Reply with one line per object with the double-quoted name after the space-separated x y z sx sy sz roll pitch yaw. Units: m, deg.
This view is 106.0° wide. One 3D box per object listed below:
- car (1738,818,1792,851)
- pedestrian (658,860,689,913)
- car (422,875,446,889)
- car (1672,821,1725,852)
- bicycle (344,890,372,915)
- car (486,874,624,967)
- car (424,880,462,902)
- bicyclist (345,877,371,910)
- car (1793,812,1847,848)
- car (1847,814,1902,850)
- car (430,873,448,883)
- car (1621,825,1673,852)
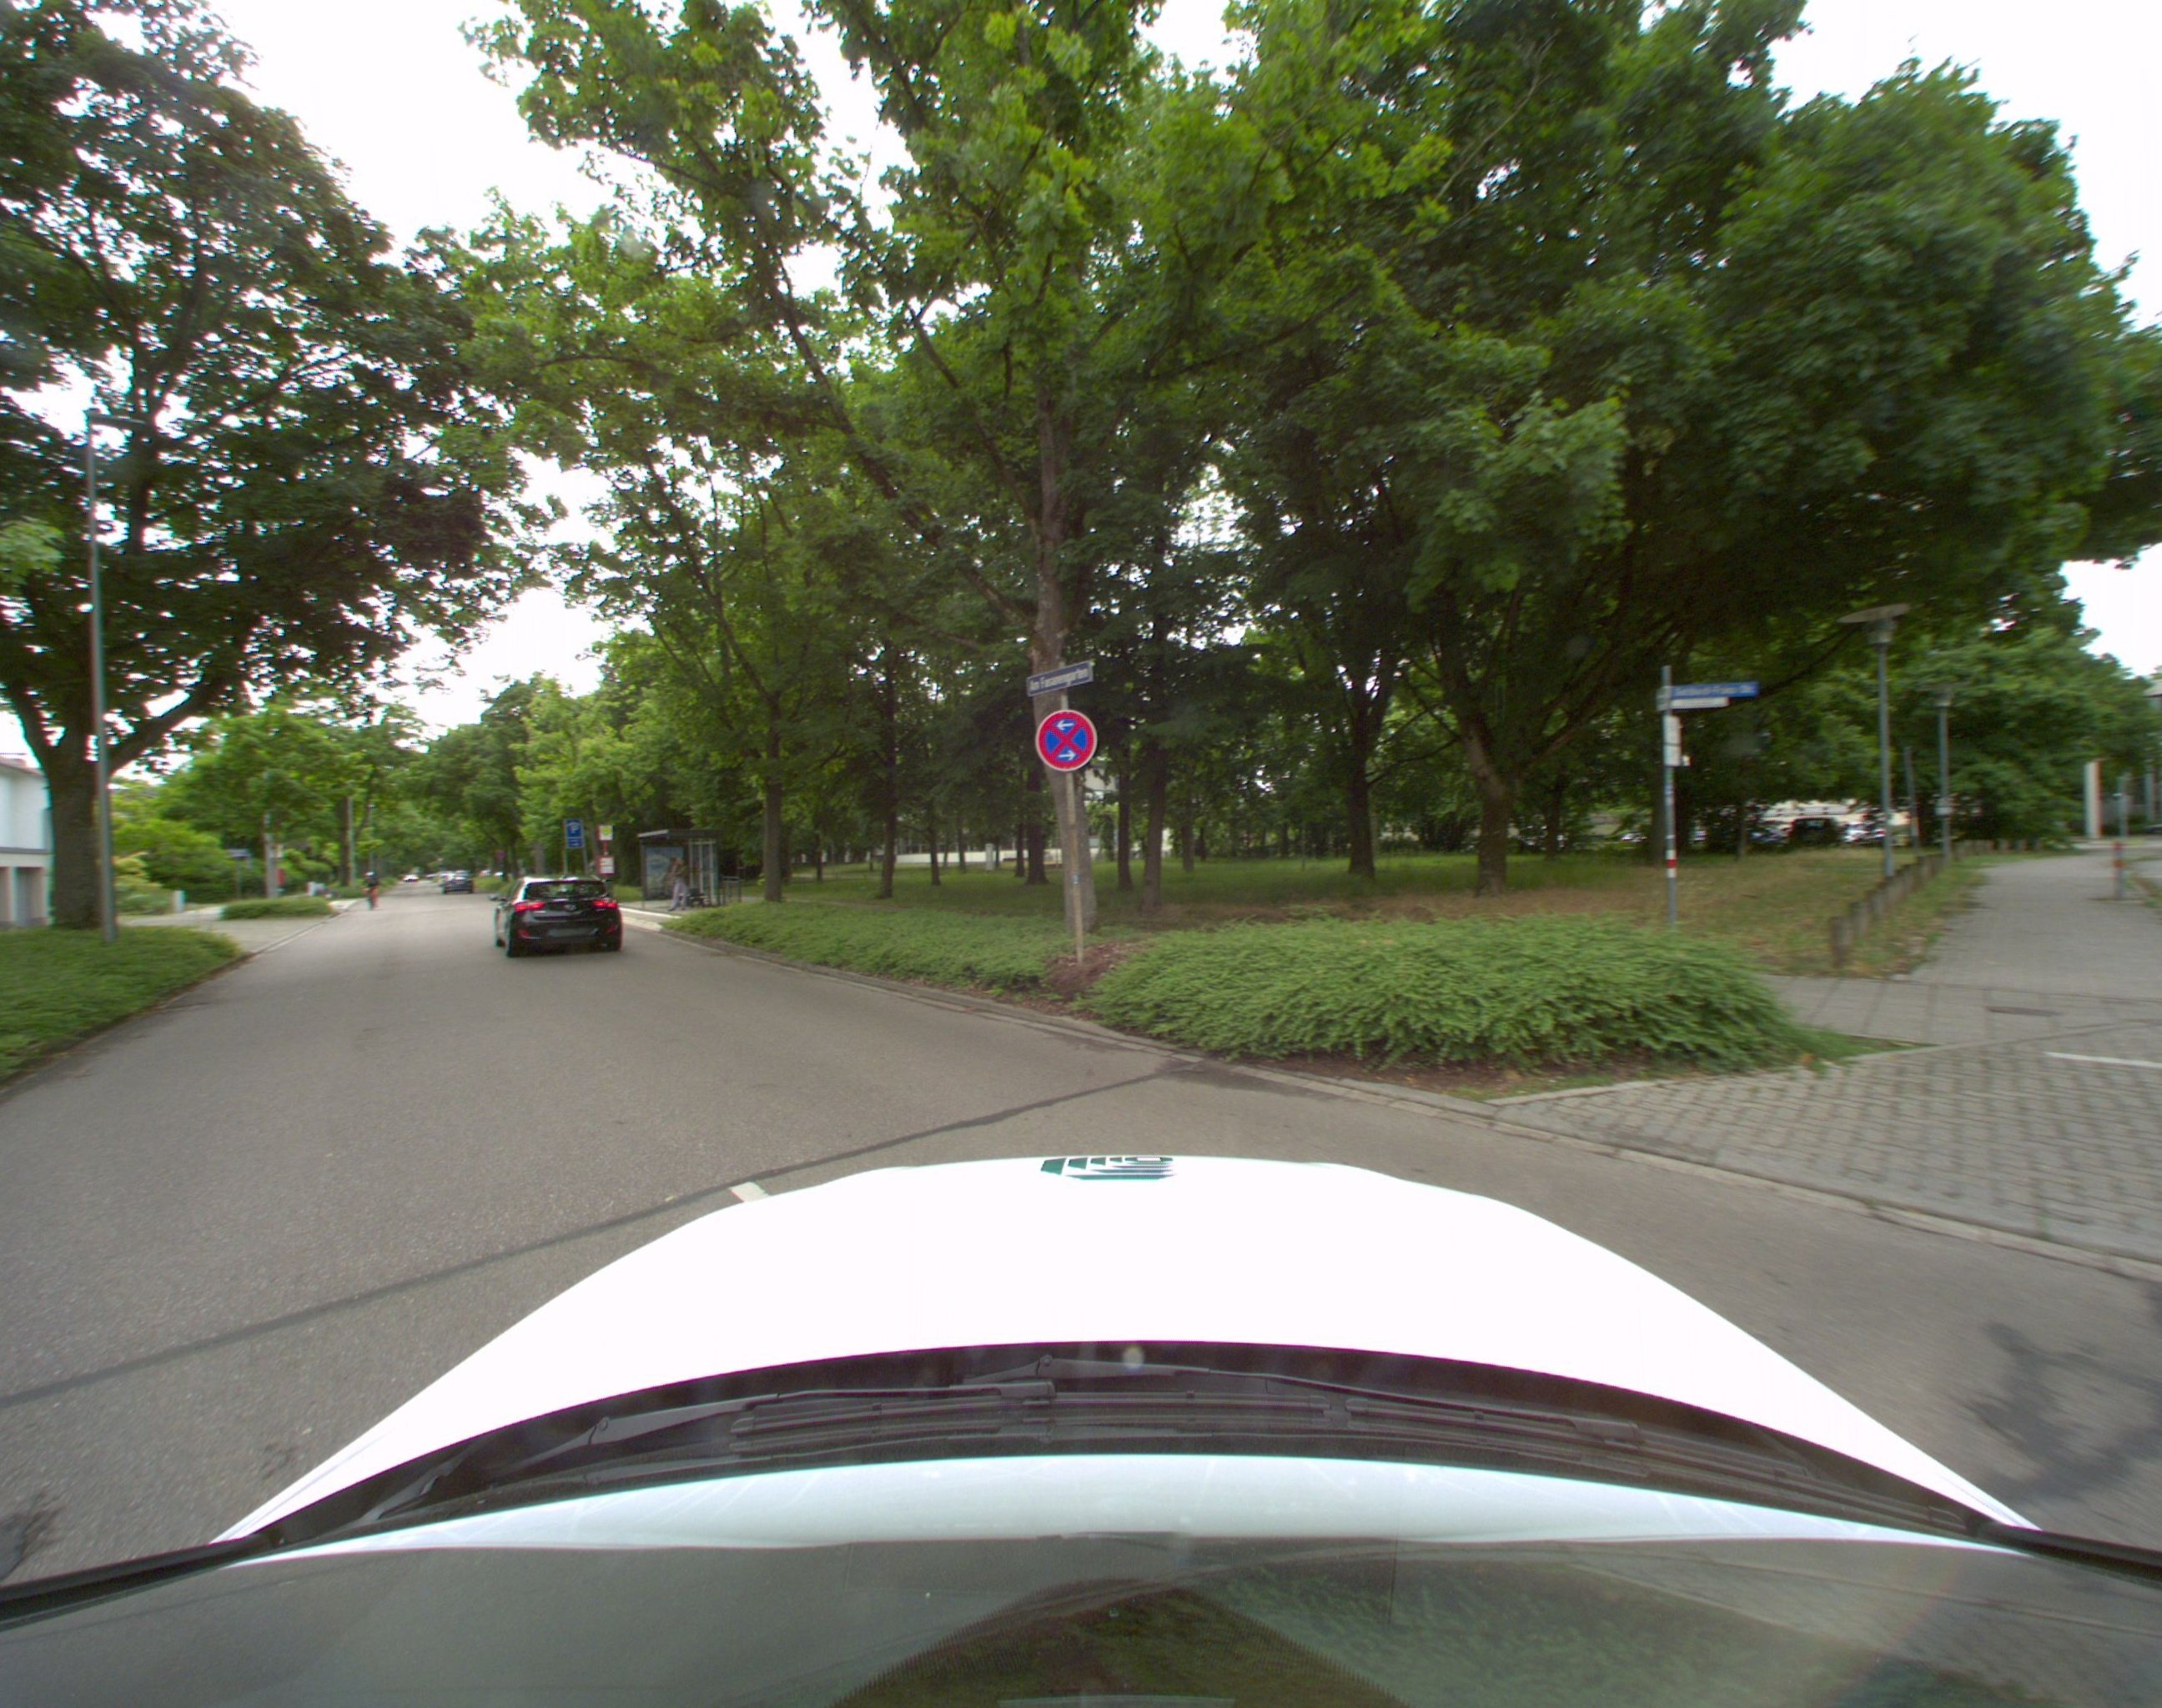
39.700 -1.089 47.234 4.023 1.794 1.975 0 -2 -45 "car"
-12.477 0.987 24.937 0.659 1.583 0.690 -3 1 -39 "pedestrian"
-73.230 3.123 92.126 1.916 1.486 3.952 -3 1 -42 "car"
37.462 -1.041 49.368 4.023 1.728 1.975 0 -2 -45 "car"
-33.426 2.239 37.670 0.801 1.025 2.534 -3 1 -39 "bicycle"
-10.200 1.161 15.673 1.861 1.462 3.783 -1 0 -38 "car"
-46.871 2.682 59.808 1.881 1.462 4.067 -2 0 -43 "car"
-33.526 1.816 37.767 0.791 1.469 0.926 -3 1 -39 "bicyclist"
41.337 -1.285 45.508 4.023 1.882 1.975 0 -1 -45 "car"
42.690 -1.154 43.797 4.023 1.762 1.975 -1 -1 -45 "car"
-101.574 3.806 128.805 2.010 1.486 3.953 -3 1 -39 "car"
35.772 -1.001 51.474 4.024 1.618 1.975 -2 0 -45 "car"
